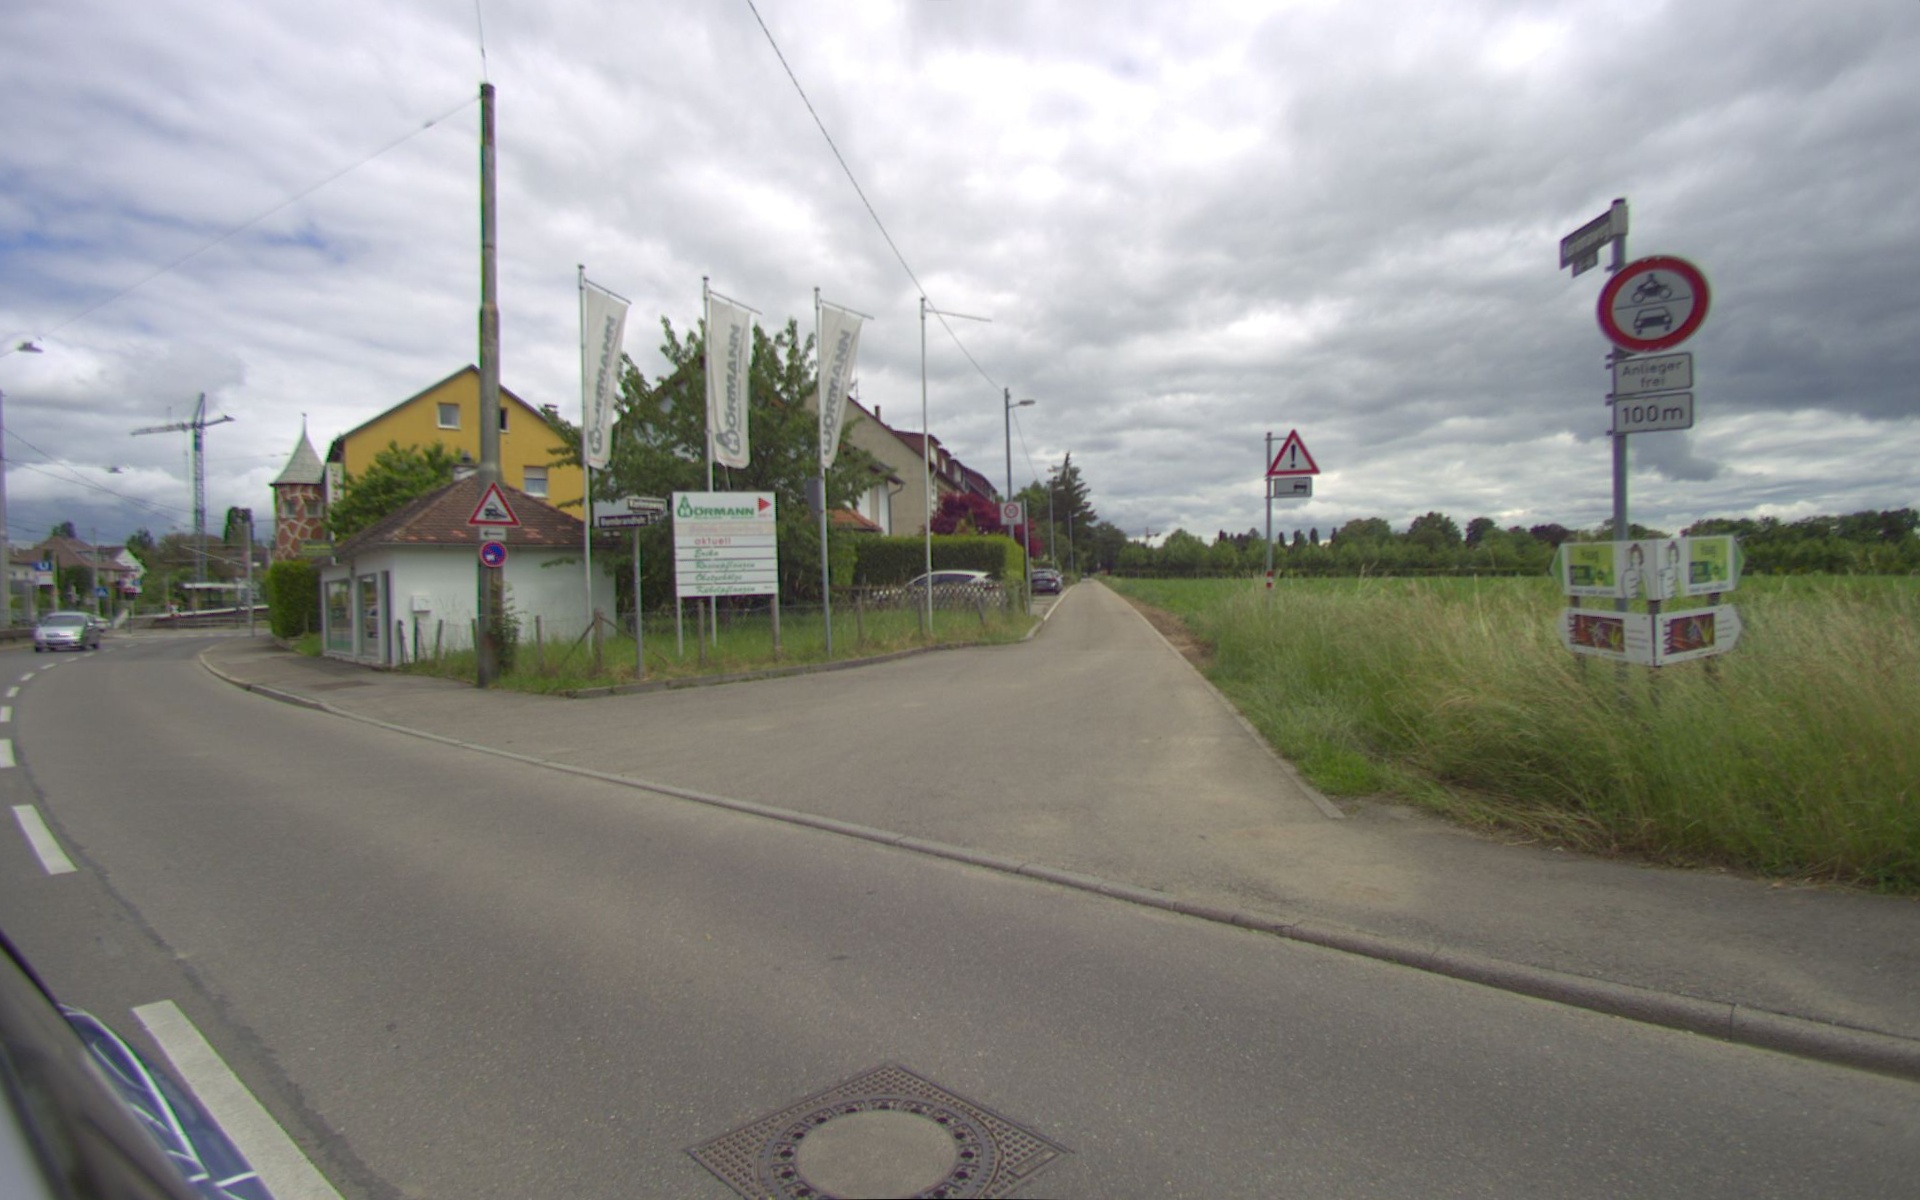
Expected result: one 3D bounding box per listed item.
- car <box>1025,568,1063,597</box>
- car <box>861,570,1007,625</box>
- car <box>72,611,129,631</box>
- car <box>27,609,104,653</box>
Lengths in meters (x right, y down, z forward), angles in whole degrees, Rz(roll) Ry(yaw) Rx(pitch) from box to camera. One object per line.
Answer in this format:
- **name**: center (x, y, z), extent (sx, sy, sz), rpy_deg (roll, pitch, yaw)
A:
- **car**: center (4.654, -0.974, 56.367), extent (1.974, 1.493, 3.995), rpy_deg (-2, 1, 4)
- **car**: center (-0.725, -0.093, 29.945), extent (3.960, 1.545, 1.992), rpy_deg (0, 1, 13)
- **car**: center (-68.433, 1.663, 80.602), extent (4.198, 1.474, 1.722), rpy_deg (-1, 1, 23)
- **car**: center (-37.702, 1.257, 42.763), extent (1.706, 1.661, 4.238), rpy_deg (-2, 1, -32)
